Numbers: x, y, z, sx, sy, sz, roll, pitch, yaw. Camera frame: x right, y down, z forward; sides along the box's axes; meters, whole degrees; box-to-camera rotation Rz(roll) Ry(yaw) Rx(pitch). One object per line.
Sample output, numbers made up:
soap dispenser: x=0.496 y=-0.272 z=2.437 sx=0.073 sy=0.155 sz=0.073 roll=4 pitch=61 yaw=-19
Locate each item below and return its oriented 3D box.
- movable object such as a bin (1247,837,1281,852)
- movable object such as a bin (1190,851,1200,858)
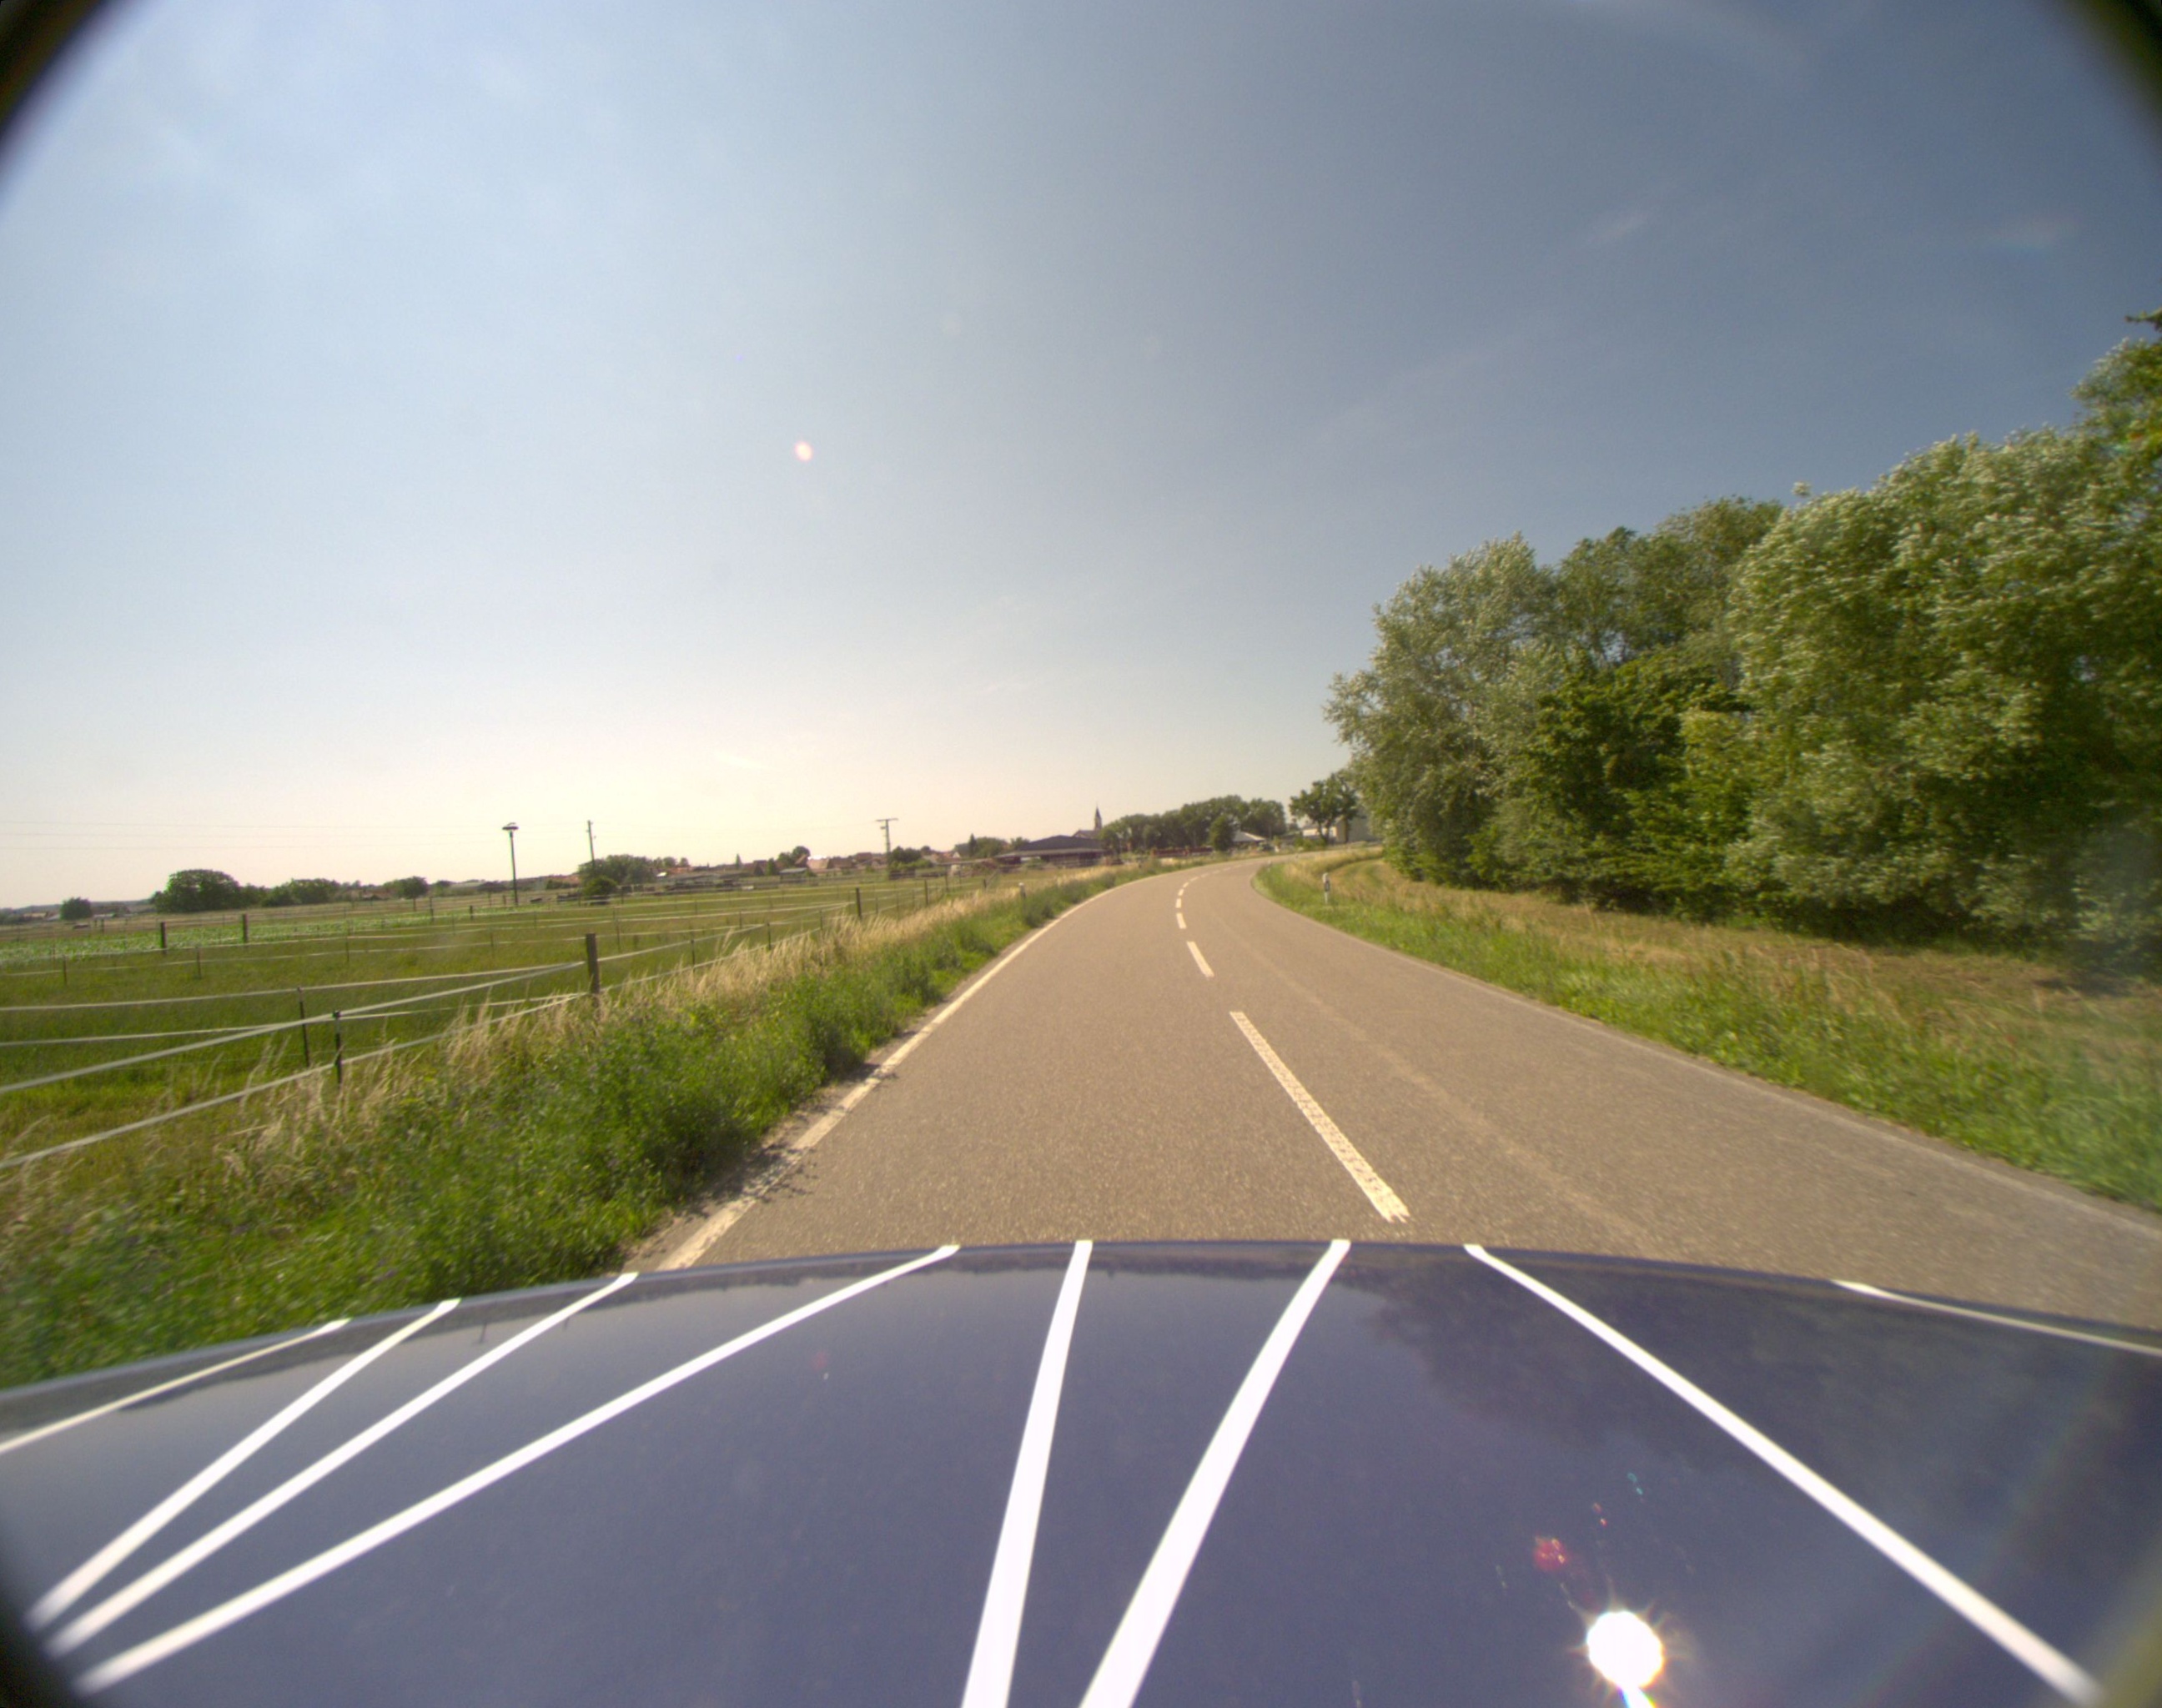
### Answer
movable object such as a bin: x=40.536 y=-2.079 z=168.133 sx=6.509 sy=2.753 sz=3.008 roll=-4 pitch=-1 yaw=-18
movable object such as a bin: x=21.266 y=0.089 z=141.714 sx=1.517 sy=1.341 sz=1.371 roll=-4 pitch=1 yaw=-14
